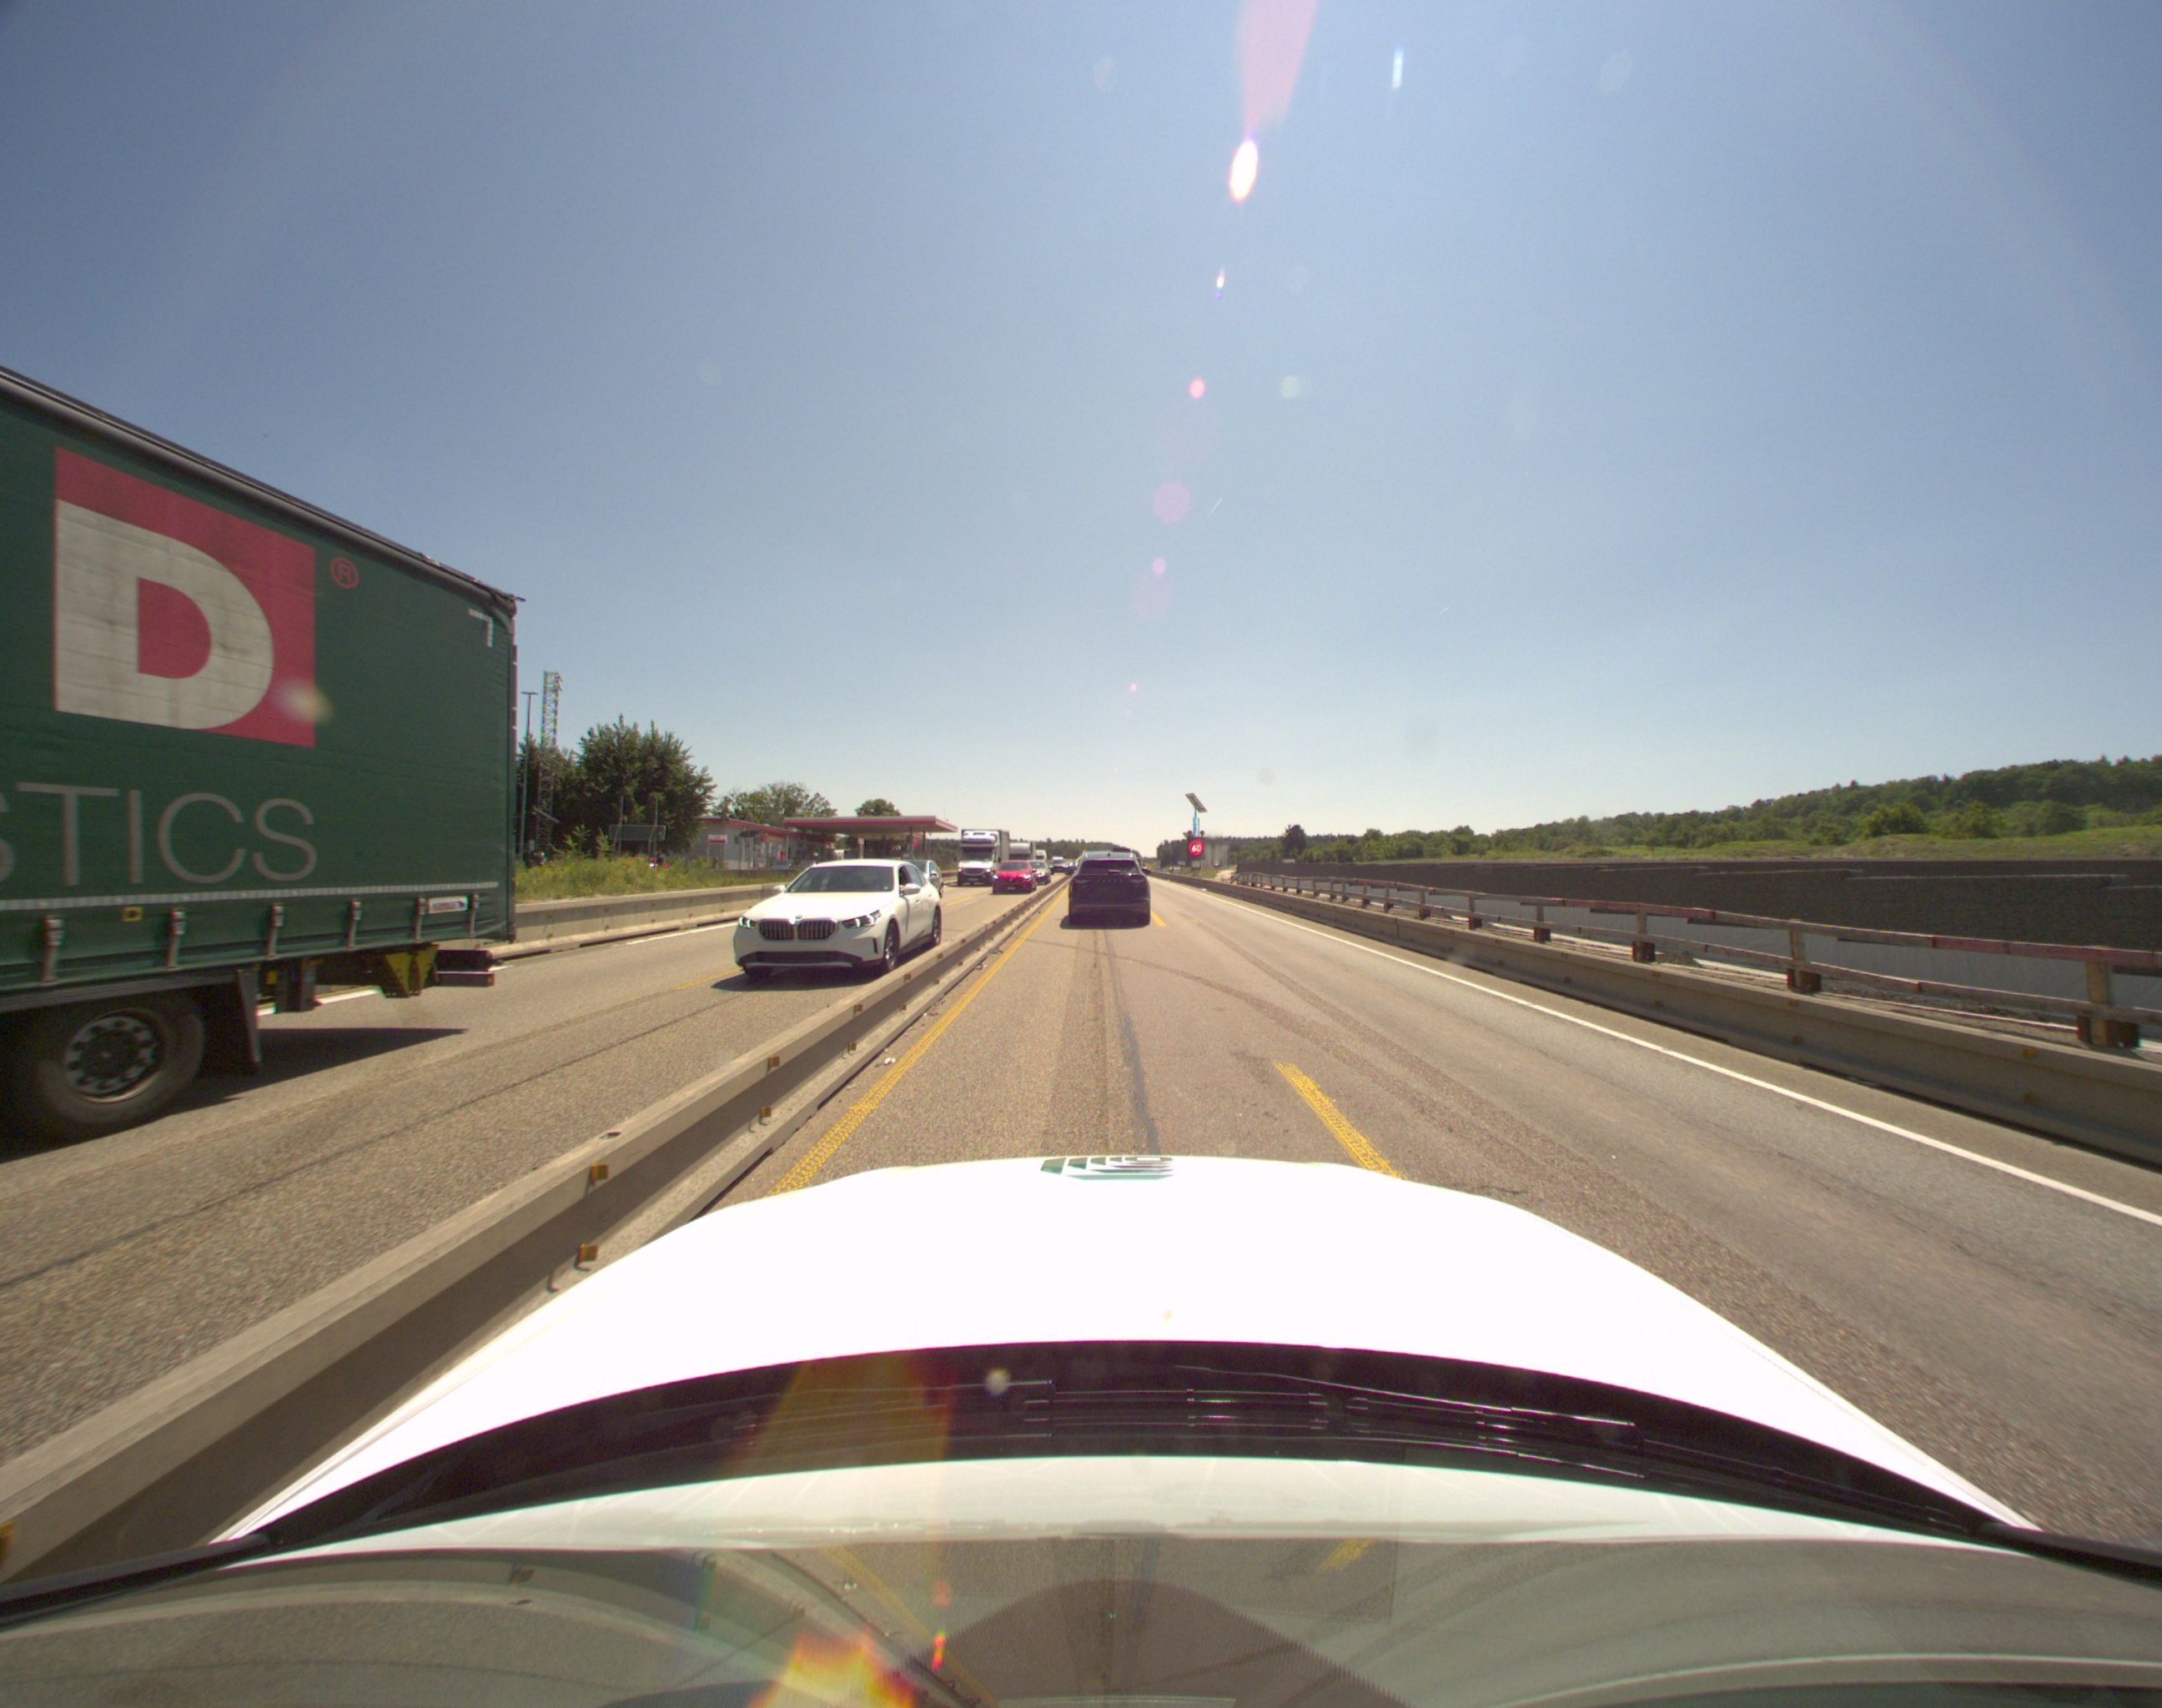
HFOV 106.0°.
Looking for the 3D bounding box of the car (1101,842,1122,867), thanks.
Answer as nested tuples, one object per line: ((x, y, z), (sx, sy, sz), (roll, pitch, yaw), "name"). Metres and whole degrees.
((5.609, 0.168, 148.997), (3.423, 4.101, 9.200), (4, -1, 2), "car")

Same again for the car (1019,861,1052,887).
((-2.622, 1.141, 47.922), (1.676, 1.429, 4.201), (-1, 0, 0), "car")

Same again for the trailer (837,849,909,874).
((-35.363, 1.375, 139.502), (3.120, 4.111, 14.248), (-1, -1, 28), "trailer")

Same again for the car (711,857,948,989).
((-3.347, 0.818, 11.948), (1.889, 1.492, 4.760), (-1, 0, 1), "car")

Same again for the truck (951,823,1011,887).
((-5.632, 0.084, 47.114), (2.381, 3.385, 7.715), (0, 0, 1), "truck")

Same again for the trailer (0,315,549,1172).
((-6.841, -0.539, 1.069), (2.996, 4.198, 13.852), (0, 0, 1), "trailer")

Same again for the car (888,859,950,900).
((-6.103, 0.938, 31.007), (1.618, 1.448, 3.785), (0, 0, 0), "car")

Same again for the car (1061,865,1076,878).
((-1.658, 2.251, 107.469), (1.934, 1.611, 3.996), (0, 0, -2), "car")

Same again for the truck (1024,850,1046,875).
((-5.364, 0.971, 95.479), (2.232, 2.786, 6.490), (0, 0, 0), "truck")

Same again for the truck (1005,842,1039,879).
((-5.572, 0.593, 78.345), (2.486, 3.292, 8.118), (-1, 0, 1), "truck")

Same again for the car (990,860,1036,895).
((-2.947, 1.002, 36.028), (1.643, 1.434, 4.000), (-1, 0, 0), "car")

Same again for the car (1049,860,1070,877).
((-2.195, 1.491, 84.057), (1.935, 1.658, 4.746), (-1, 0, 1), "car")

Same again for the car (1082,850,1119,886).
((1.053, 0.796, 45.806), (1.987, 1.844, 3.999), (2, -1, 0), "car")

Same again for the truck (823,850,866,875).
((-38.602, 1.371, 133.275), (3.120, 3.985, 6.384), (-1, -2, 28), "truck")

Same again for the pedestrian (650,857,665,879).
((-23.117, 0.748, 44.473), (0.470, 1.204, 0.588), (-1, 0, 15), "pedestrian")

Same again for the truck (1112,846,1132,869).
((5.448, 0.448, 109.502), (2.663, 2.946, 5.622), (0, 0, 2), "truck")

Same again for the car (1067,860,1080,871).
((-1.188, 1.778, 127.533), (1.838, 1.641, 4.001), (0, 0, 1), "car")

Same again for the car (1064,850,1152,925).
((0.629, 0.707, 19.180), (1.835, 1.582, 4.002), (-1, 0, 2), "car")
